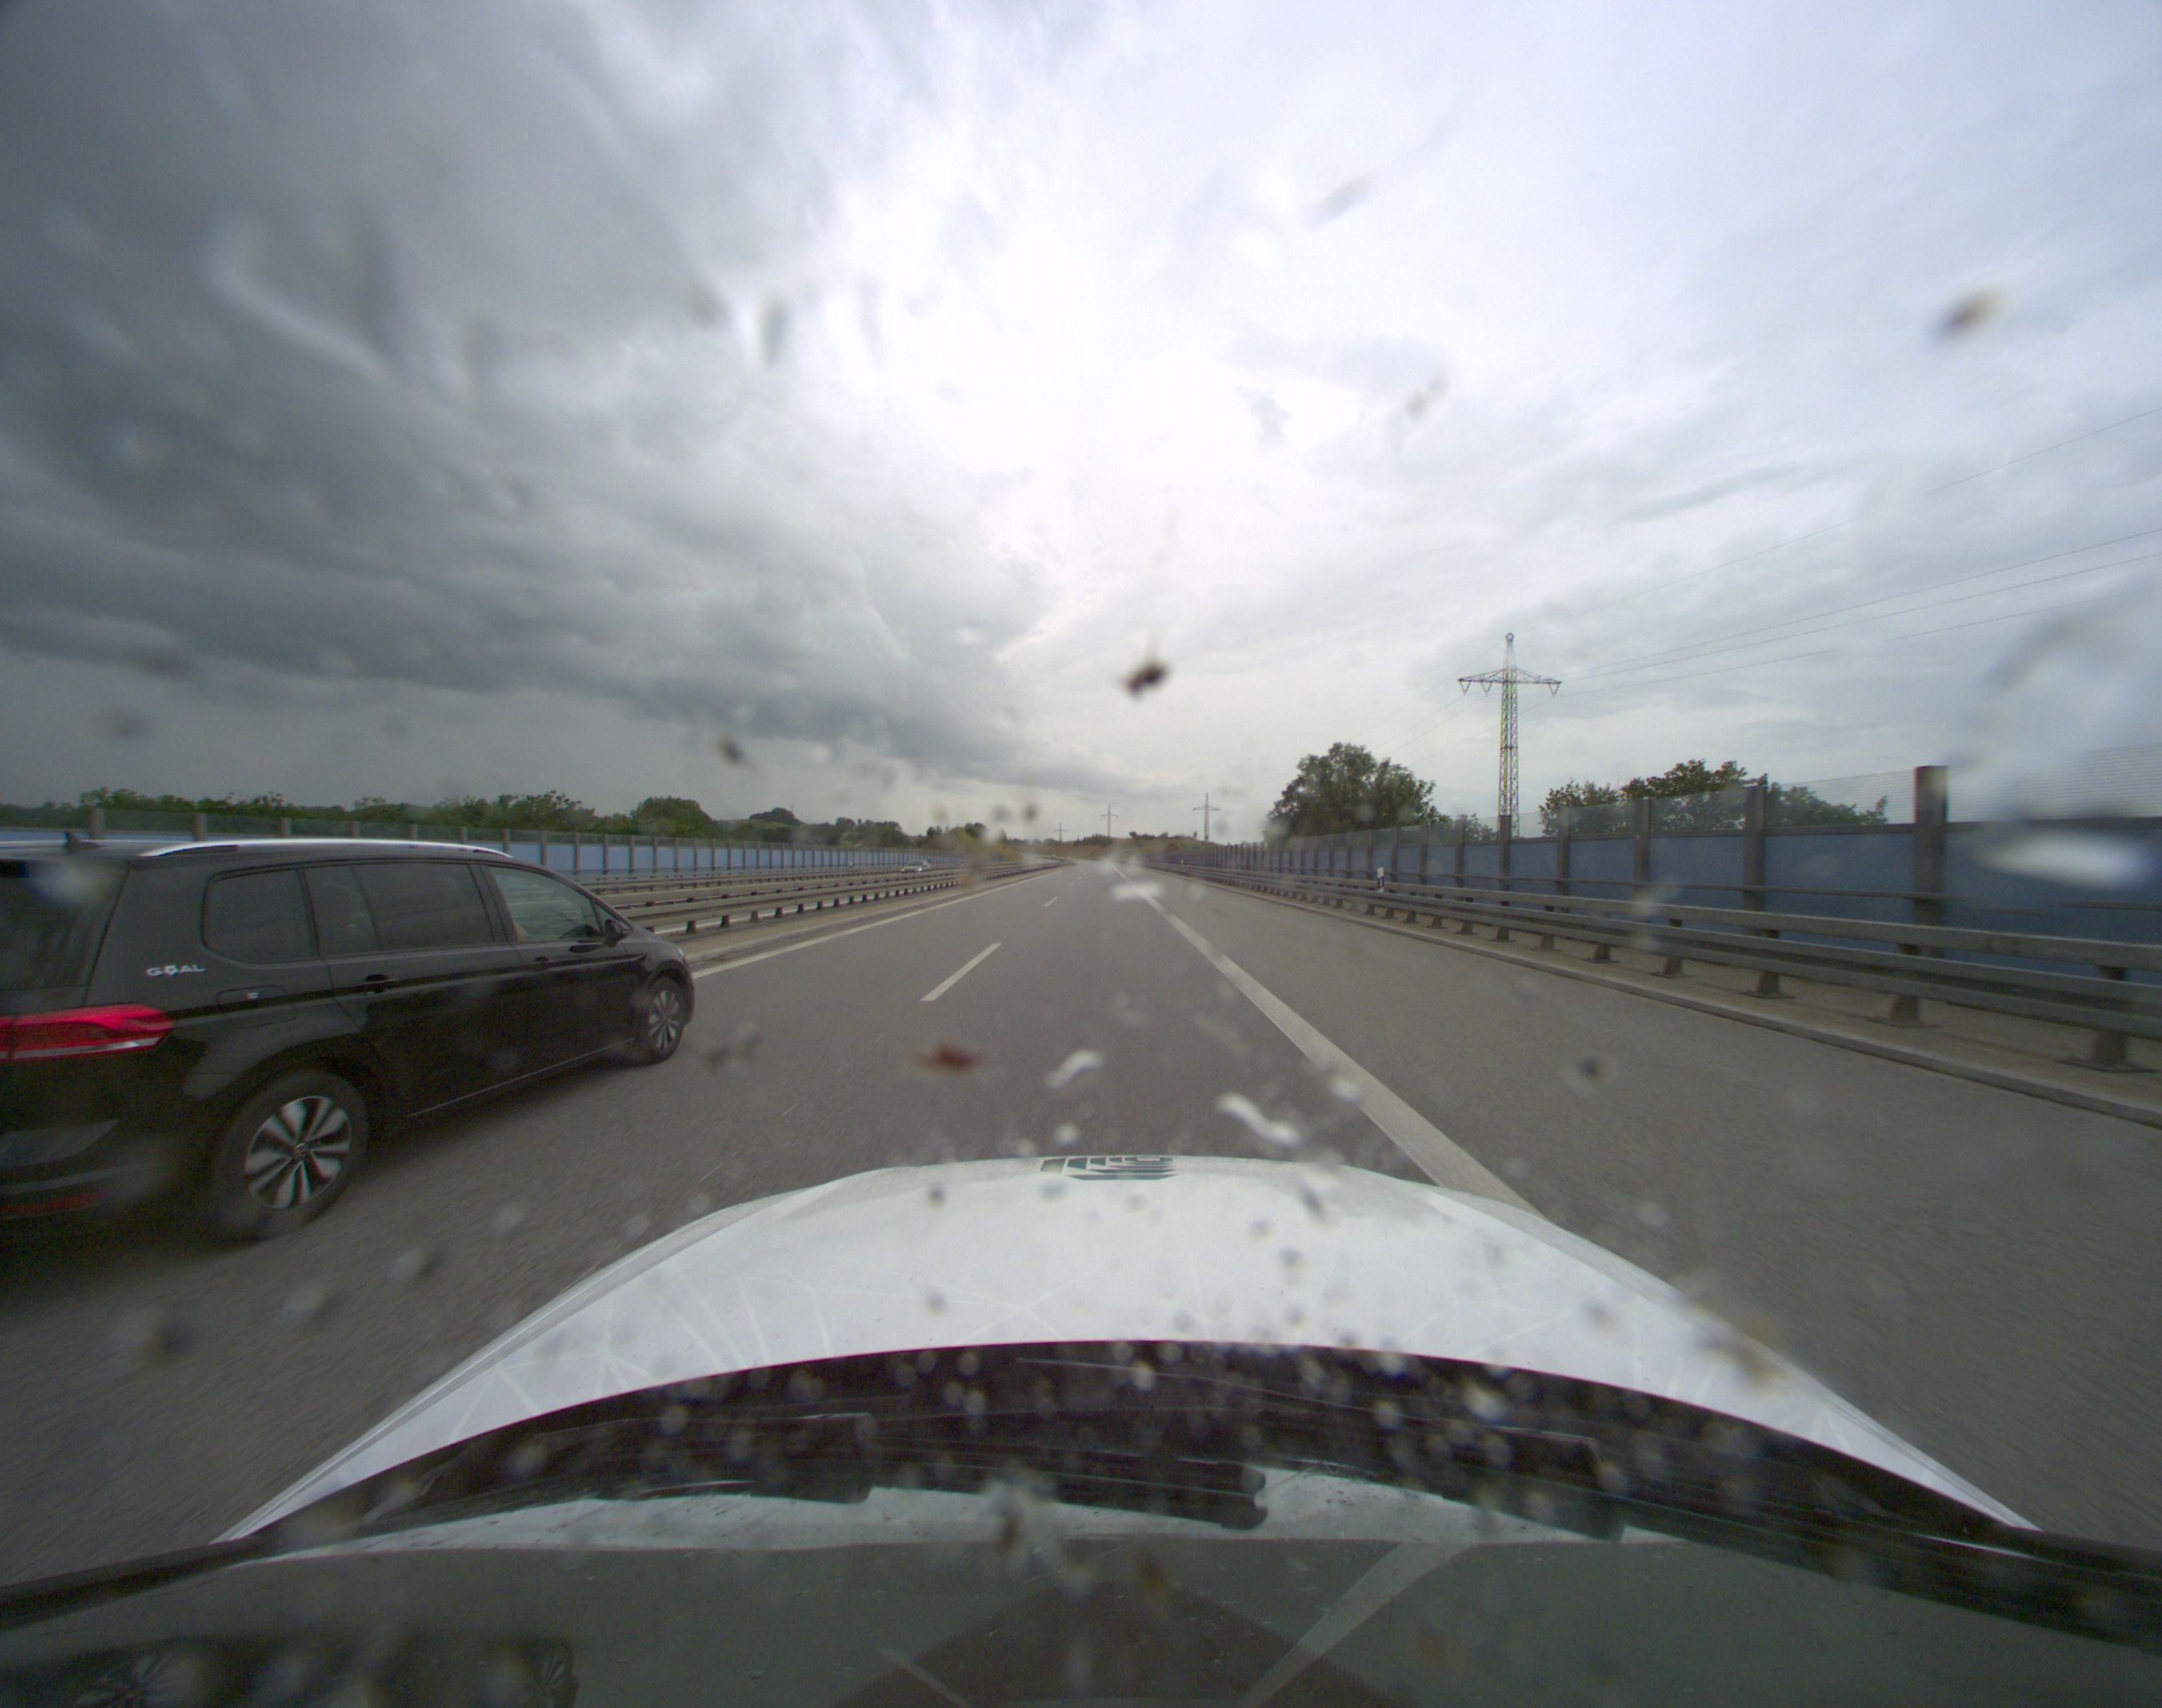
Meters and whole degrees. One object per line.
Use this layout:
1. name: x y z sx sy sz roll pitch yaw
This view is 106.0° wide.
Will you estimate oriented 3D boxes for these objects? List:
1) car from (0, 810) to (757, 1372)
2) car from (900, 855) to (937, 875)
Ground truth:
1. car: -4.080 0.719 4.979 1.889 1.670 5.398 0 0 2
2. car: -12.733 0.871 64.042 1.986 1.515 4.289 0 0 2
